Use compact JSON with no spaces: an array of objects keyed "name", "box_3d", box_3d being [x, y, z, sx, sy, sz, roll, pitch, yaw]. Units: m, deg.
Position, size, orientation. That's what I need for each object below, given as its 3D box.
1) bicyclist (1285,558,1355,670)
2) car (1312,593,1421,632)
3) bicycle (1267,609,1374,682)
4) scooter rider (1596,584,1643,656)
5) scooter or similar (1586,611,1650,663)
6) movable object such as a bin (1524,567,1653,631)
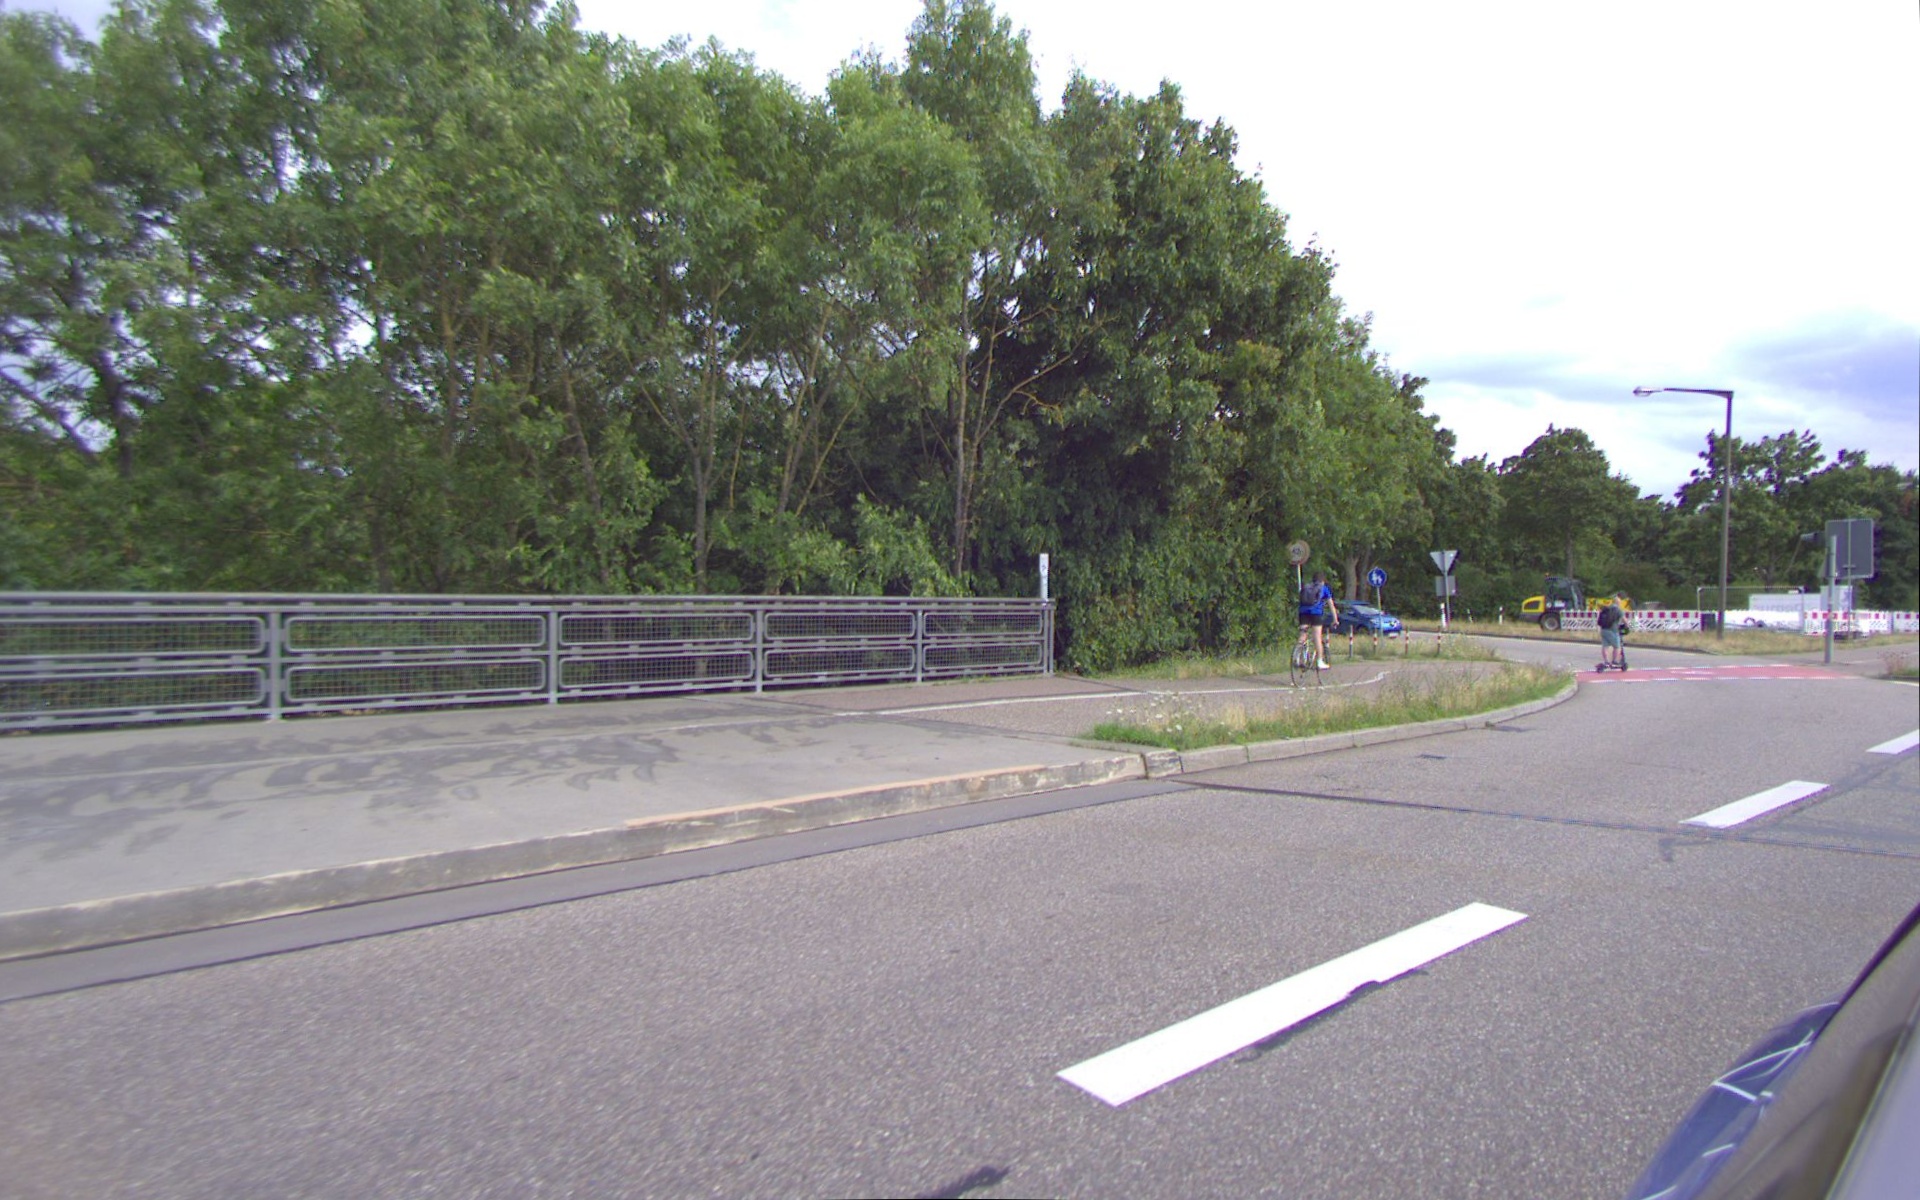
[{"name":"bicyclist","box_3d":[5.588,0.223,15.704,0.791,1.681,0.666,4,-2,-39]},{"name":"car","box_3d":[16.758,0.473,41.918,1.841,1.537,4.007,0,1,-24]},{"name":"bicycle","box_3d":[5.628,0.714,15.739,1.940,1.034,0.578,3,2,-40]},{"name":"scooter rider","box_3d":[15.934,0.478,24.457,0.729,1.712,0.589,0,0,-3]},{"name":"scooter or similar","box_3d":[15.893,0.886,24.459,1.179,1.240,0.590,0,0,-2]},{"name":"movable object such as a bin","box_3d":[28.451,-0.067,45.943,2.061,2.723,4.517,0,0,-34]}]
